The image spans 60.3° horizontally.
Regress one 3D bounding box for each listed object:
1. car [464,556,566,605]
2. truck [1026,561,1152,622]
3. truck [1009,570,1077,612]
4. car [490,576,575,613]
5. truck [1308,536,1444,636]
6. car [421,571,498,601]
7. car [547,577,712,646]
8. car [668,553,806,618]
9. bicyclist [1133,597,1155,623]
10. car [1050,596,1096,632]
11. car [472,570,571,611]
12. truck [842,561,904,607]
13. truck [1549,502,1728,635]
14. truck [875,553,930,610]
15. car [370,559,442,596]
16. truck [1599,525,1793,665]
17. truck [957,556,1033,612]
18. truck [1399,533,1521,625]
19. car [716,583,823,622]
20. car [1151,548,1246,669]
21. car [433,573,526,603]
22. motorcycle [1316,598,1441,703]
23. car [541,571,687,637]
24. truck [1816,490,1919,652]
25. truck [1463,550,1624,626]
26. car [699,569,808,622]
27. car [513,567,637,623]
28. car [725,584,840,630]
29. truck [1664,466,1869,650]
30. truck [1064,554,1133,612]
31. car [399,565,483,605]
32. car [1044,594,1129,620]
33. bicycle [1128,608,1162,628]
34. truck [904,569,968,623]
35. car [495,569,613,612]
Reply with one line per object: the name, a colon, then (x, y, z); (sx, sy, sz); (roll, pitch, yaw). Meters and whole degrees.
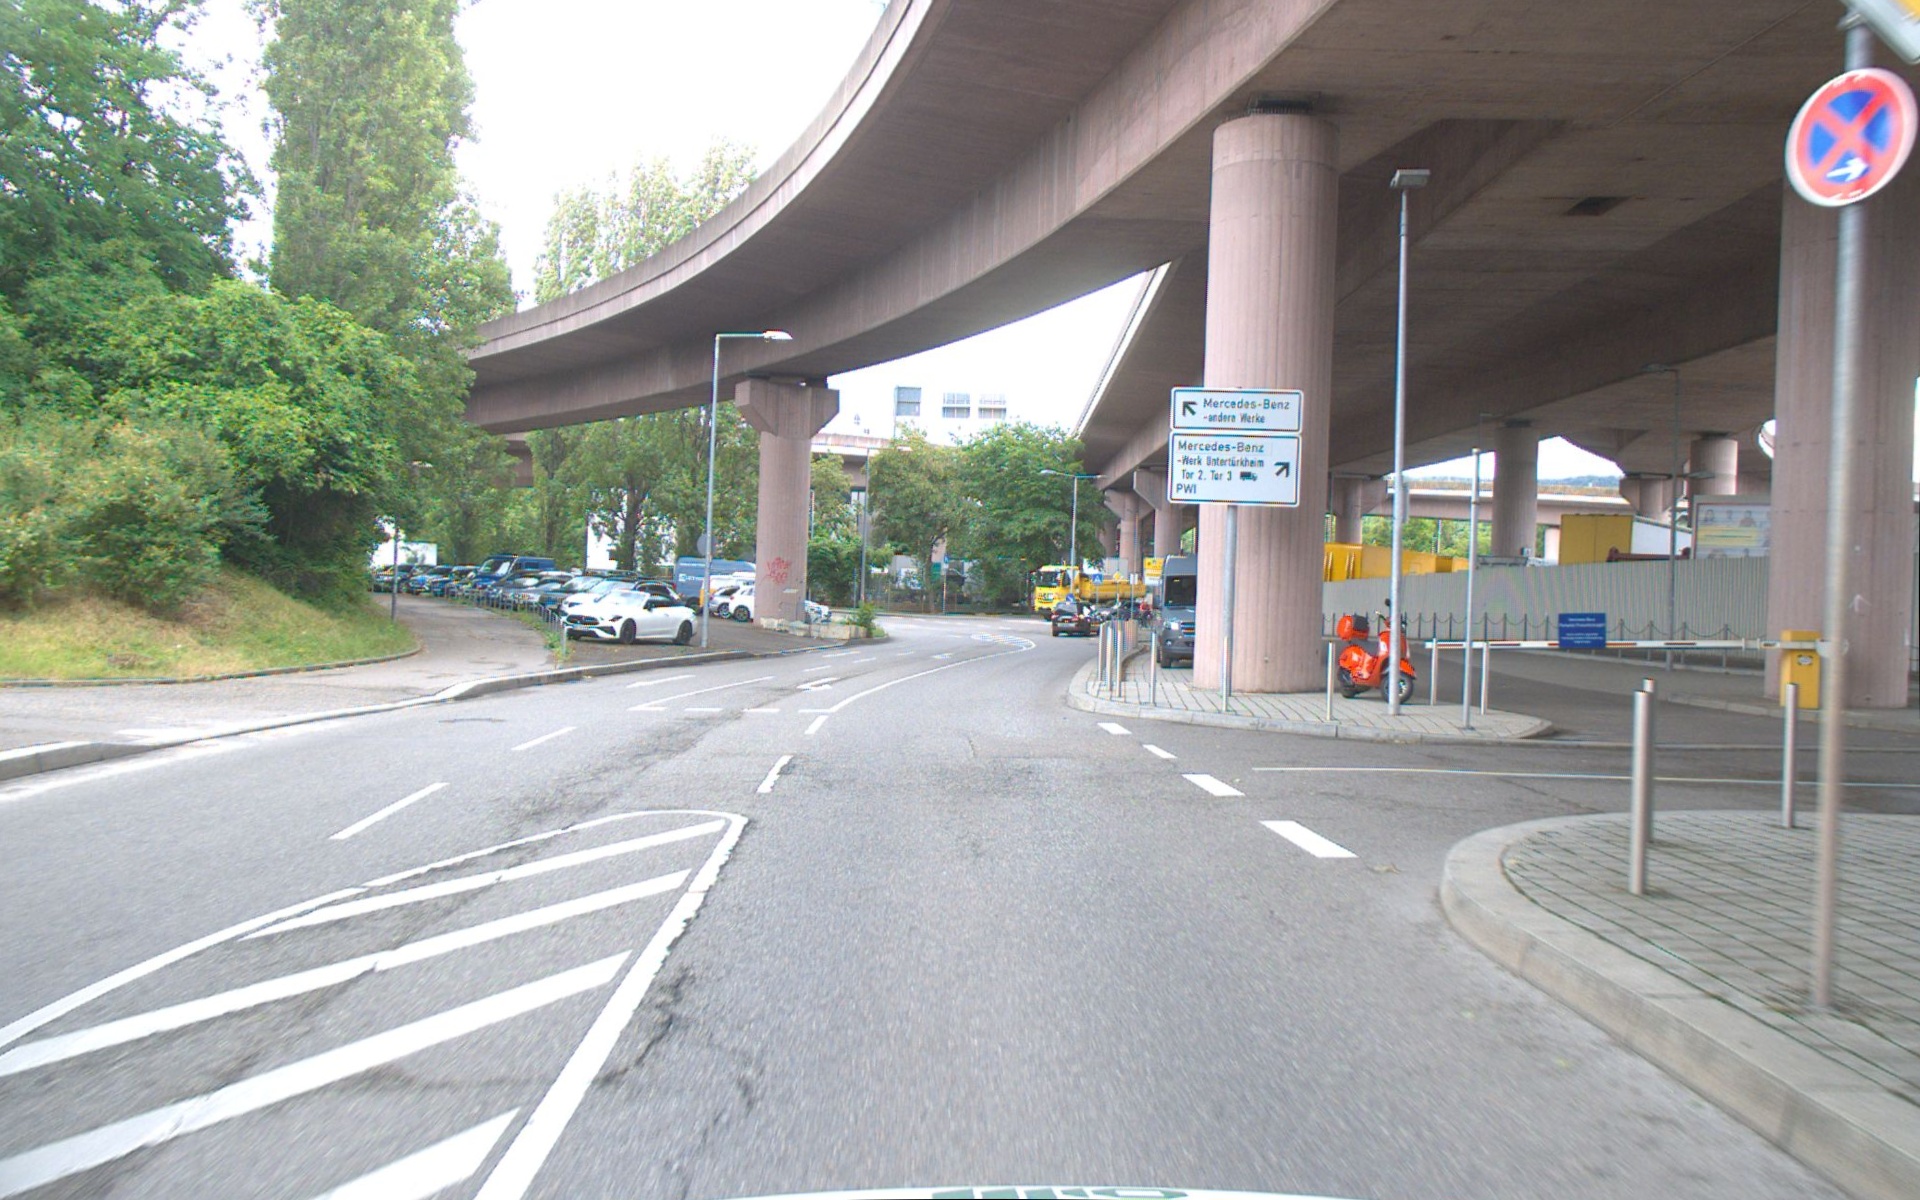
car: (-21.214, -0.904, 79.060); (2.074, 2.294, 5.017); (0, 0, 22)
truck: (8.237, -0.605, 105.161); (8.164, 3.540, 2.897); (-1, 5, -39)
truck: (6.189, -0.715, 124.916); (2.872, 2.949, 6.522); (0, 2, -20)
car: (-17.522, -0.213, 67.973); (1.609, 1.466, 3.736); (0, 0, 19)
truck: (22.059, -0.668, 87.373); (3.094, 5.003, 8.660); (1, 0, 43)
car: (-26.237, -0.705, 86.838); (1.752, 1.500, 3.886); (1, 0, 24)
car: (-8.844, 0.359, 44.734); (1.954, 1.505, 4.827); (6, -1, 21)
car: (-10.487, -0.686, 78.028); (6.048, 2.772, 2.368); (3, 0, 1)
bicyclist: (10.145, 0.550, 91.241); (0.787, 1.430, 1.056); (0, 0, -30)
car: (5.621, 0.680, 82.766); (1.953, 1.708, 4.560); (2, 0, 0)
car: (-18.839, -0.399, 71.219); (1.858, 1.705, 4.150); (0, 0, 27)
truck: (-7.636, -1.444, 144.347); (3.012, 3.681, 7.866); (1, 2, -21)
truck: (24.976, -1.057, 60.538); (3.091, 4.521, 9.668); (0, 0, 41)
truck: (-5.205, -1.754, 148.002); (3.149, 4.863, 8.019); (0, 2, -15)
car: (-31.358, -1.250, 93.777); (1.619, 1.741, 4.083); (4, -1, 19)
truck: (24.686, -0.148, 55.115); (2.848, 4.256, 10.000); (0, 0, 43)
truck: (2.569, -1.249, 123.669); (3.020, 3.935, 8.004); (0, 2, -19)
truck: (28.655, -1.133, 94.458); (3.094, 4.989, 8.660); (1, 0, 43)
car: (-8.326, 0.108, 72.359); (4.154, 1.395, 2.002); (4, 1, 12)
car: (5.635, 0.180, 39.680); (1.951, 2.659, 6.078); (1, 0, 6)
car: (-24.292, -0.593, 83.832); (1.954, 1.460, 4.642); (0, 0, 25)
motorcycle: (5.943, 0.690, 23.629); (0.783, 1.390, 2.121); (0, 1, -16)
car: (-10.070, 0.156, 48.449); (1.954, 1.610, 4.399); (6, 0, 22)
truck: (27.427, -0.742, 47.447); (2.764, 4.231, 9.870); (0, 0, 42)
truck: (25.069, -0.533, 70.771); (3.094, 2.995, 8.658); (-3, -1, 44)
car: (-9.344, -0.218, 75.058); (4.459, 2.148, 1.852); (3, 0, 9)
car: (-12.721, -0.148, 54.885); (1.820, 1.721, 4.161); (2, 0, 24)
car: (-7.420, 0.290, 69.388); (4.288, 1.633, 1.956); (4, 1, 14)
truck: (24.442, -1.135, 49.794); (3.092, 5.010, 9.668); (0, 0, 41)
truck: (11.096, -1.437, 133.372); (3.015, 4.374, 8.017); (0, 2, -15)
car: (-27.866, -0.817, 88.968); (1.804, 1.831, 4.300); (0, 4, 25)
car: (7.612, 0.441, 99.437); (4.877, 1.528, 2.146); (0, 0, -36)
bicycle: (10.175, 0.980, 91.186); (0.793, 1.117, 2.110); (0, 0, -29)
truck: (-1.926, -0.297, 128.186); (3.018, 4.032, 6.887); (-1, 0, -18)
car: (-15.953, -0.376, 65.201); (1.820, 1.513, 4.885); (4, 2, 24)
